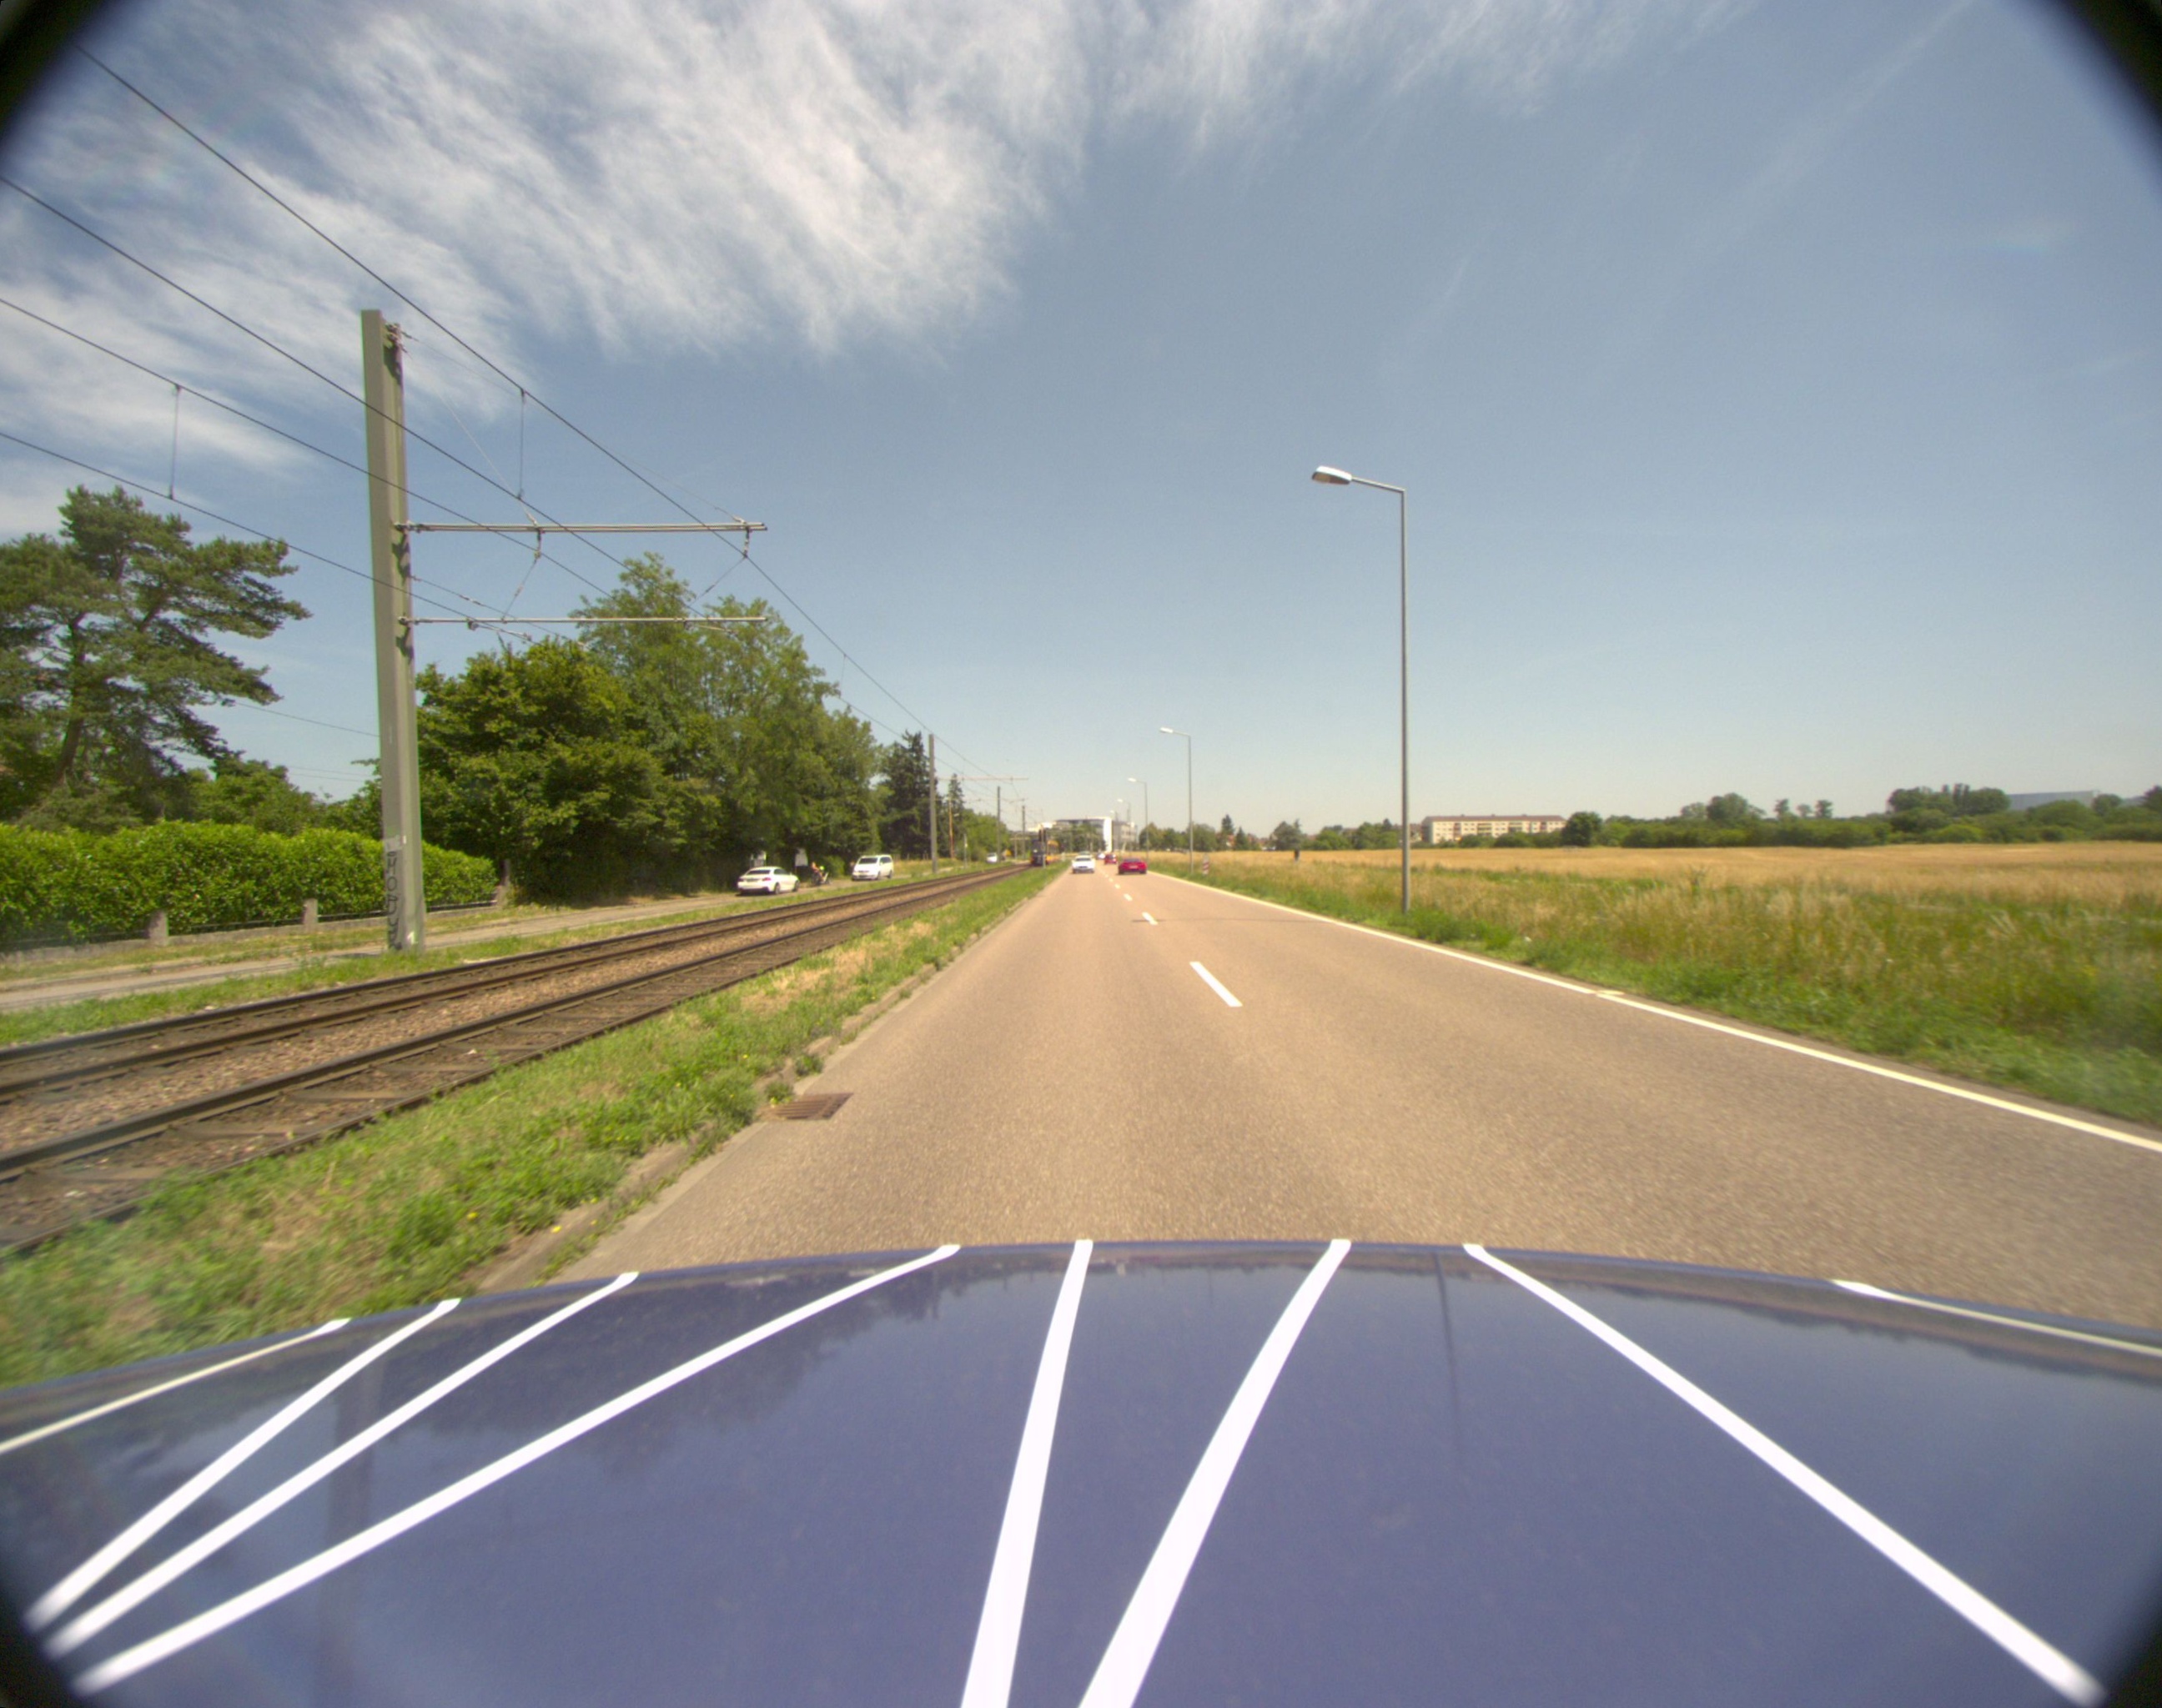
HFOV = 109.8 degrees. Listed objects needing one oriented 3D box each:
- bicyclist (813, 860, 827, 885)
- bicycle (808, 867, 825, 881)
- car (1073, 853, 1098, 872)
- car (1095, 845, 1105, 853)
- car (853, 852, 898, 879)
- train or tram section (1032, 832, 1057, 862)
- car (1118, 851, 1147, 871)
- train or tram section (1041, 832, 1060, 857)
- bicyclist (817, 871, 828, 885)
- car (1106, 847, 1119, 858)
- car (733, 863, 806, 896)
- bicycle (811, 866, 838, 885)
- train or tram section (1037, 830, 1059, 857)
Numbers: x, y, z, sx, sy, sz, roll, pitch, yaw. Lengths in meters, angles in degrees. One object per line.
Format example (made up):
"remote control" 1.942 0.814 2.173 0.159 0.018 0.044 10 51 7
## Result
"bicyclist" -16.556 1.158 48.262 0.610 1.579 0.925 -1 2 -4
"bicycle" -16.656 1.270 47.890 0.751 0.870 0.798 -1 2 0
"car" 0.426 0.673 63.799 1.771 1.434 4.130 -1 1 5
"car" 3.715 -0.960 150.714 1.839 1.458 4.678 -1 0 0
"car" -15.821 0.857 58.769 1.998 1.865 5.013 -1 1 0
"train or tram section" -4.789 -1.010 101.508 2.772 3.668 11.183 -1 1 0
"car" 3.726 0.487 55.302 1.812 1.278 4.285 -1 1 0
"train or tram section" -4.663 -1.451 117.074 2.567 3.693 6.727 -1 1 0
"bicyclist" -16.788 1.577 49.348 0.524 0.871 0.762 -1 2 -4
"car" 4.376 -0.194 105.509 1.649 1.392 3.843 -1 1 0
"car" -15.994 1.279 39.243 1.801 1.441 4.628 -1 1 0
"bicycle" -16.555 1.362 49.146 1.148 1.140 1.658 -1 2 0
"train or tram section" -4.763 -1.505 110.281 2.708 3.745 6.727 -1 1 0
